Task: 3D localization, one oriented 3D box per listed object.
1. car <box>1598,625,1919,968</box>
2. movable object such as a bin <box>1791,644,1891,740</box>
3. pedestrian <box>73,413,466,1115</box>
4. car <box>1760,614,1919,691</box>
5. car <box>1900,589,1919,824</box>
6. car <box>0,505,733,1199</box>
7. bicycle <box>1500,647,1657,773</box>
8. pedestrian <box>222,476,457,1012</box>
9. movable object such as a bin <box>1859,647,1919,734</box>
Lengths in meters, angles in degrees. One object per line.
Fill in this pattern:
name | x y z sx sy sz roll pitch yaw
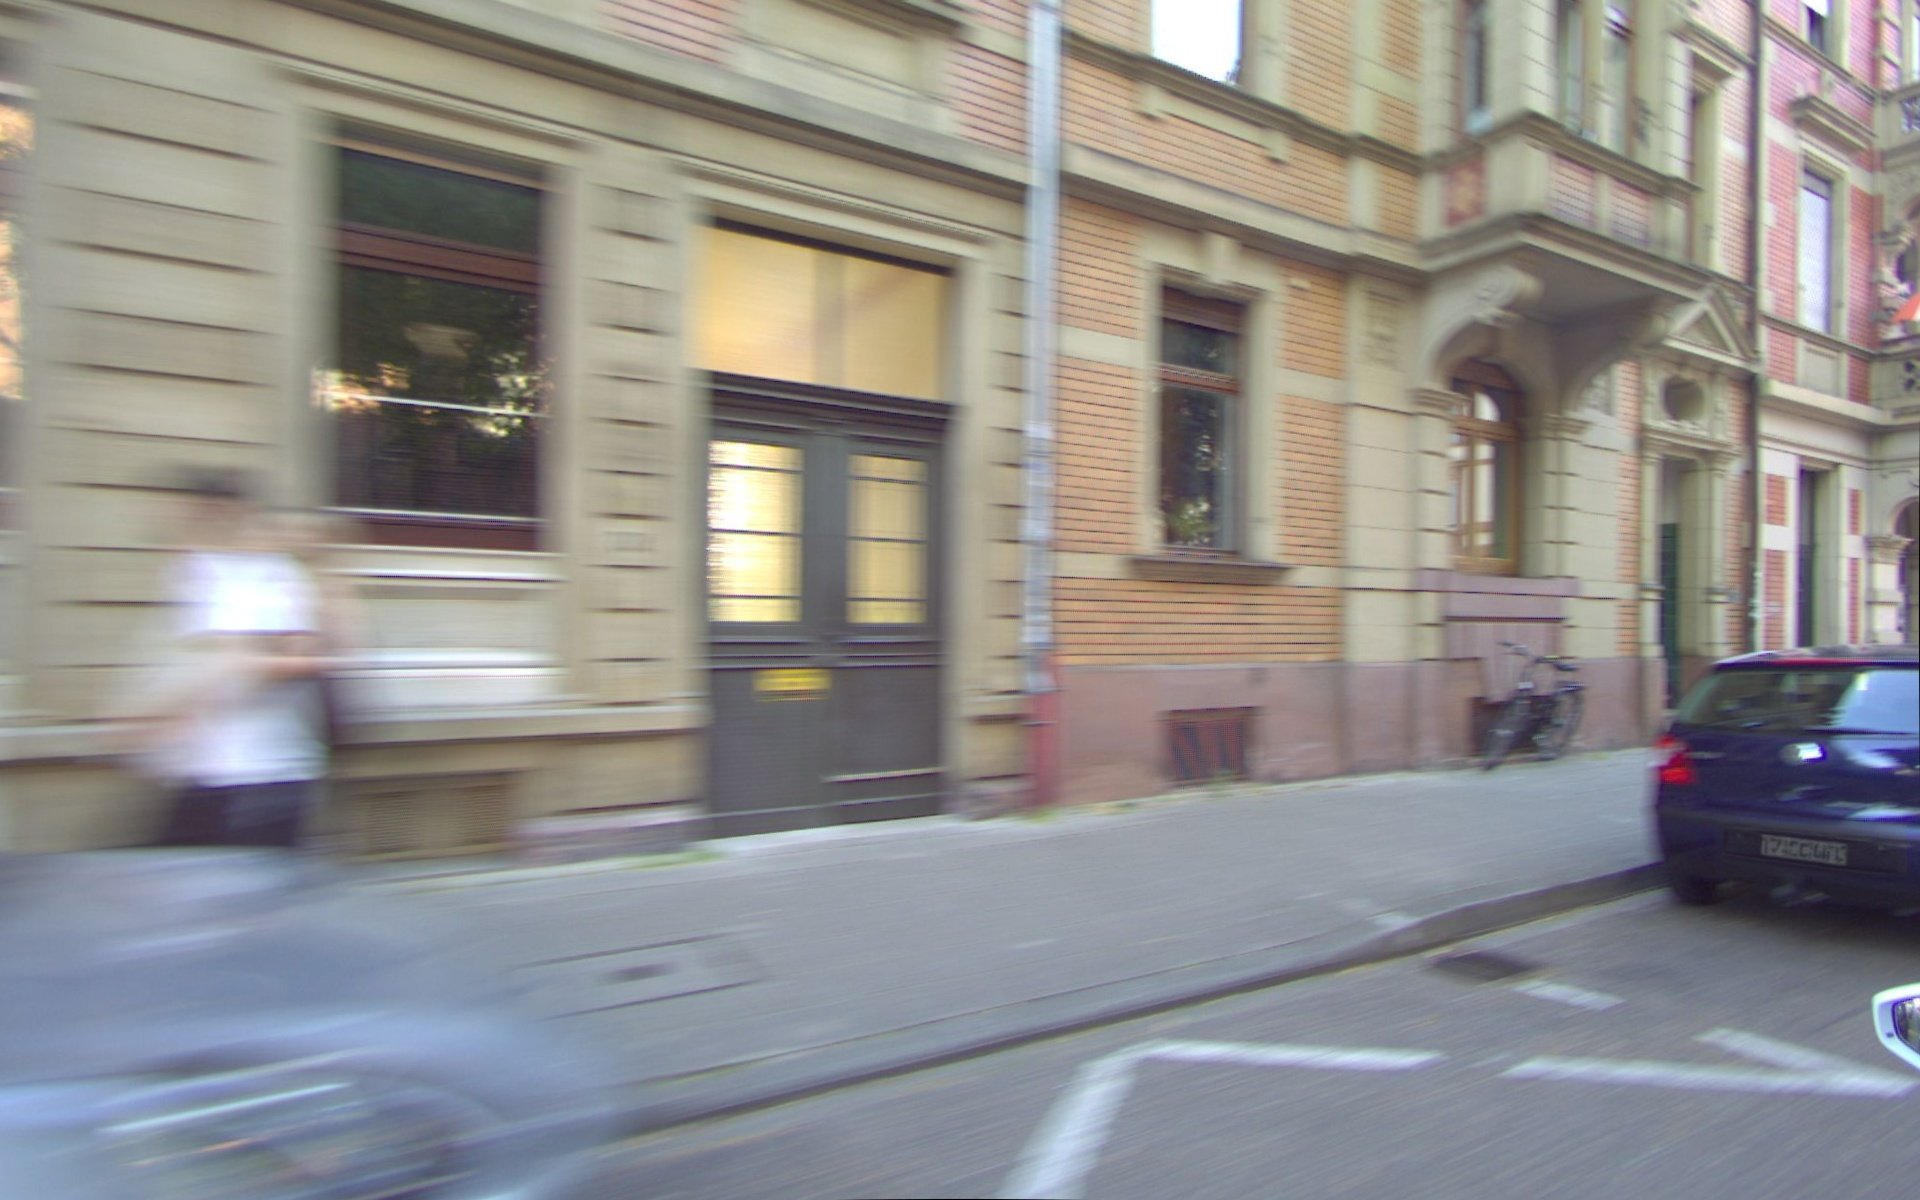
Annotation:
car | 5.683 0.937 5.980 3.930 1.534 1.683 1 -3 -33
movable object such as a bin | 10.528 1.075 12.009 0.846 1.055 0.634 1 1 -30
pedestrian | -2.125 0.458 3.206 0.894 1.907 0.576 2 -1 -30
car | 24.134 1.360 26.223 1.999 1.919 4.699 3 -2 -24
car | 9.841 0.835 8.272 4.518 1.835 1.823 1 -3 -30
car | -2.484 0.696 0.881 4.145 1.534 1.758 1 -3 -31
bicycle | 5.782 0.986 9.380 1.528 1.055 0.568 1 1 -30
pedestrian | -2.326 0.491 3.827 0.641 1.795 0.698 2 -1 -30
movable object such as a bin | 12.405 1.173 13.196 0.846 1.055 0.634 1 1 -30
